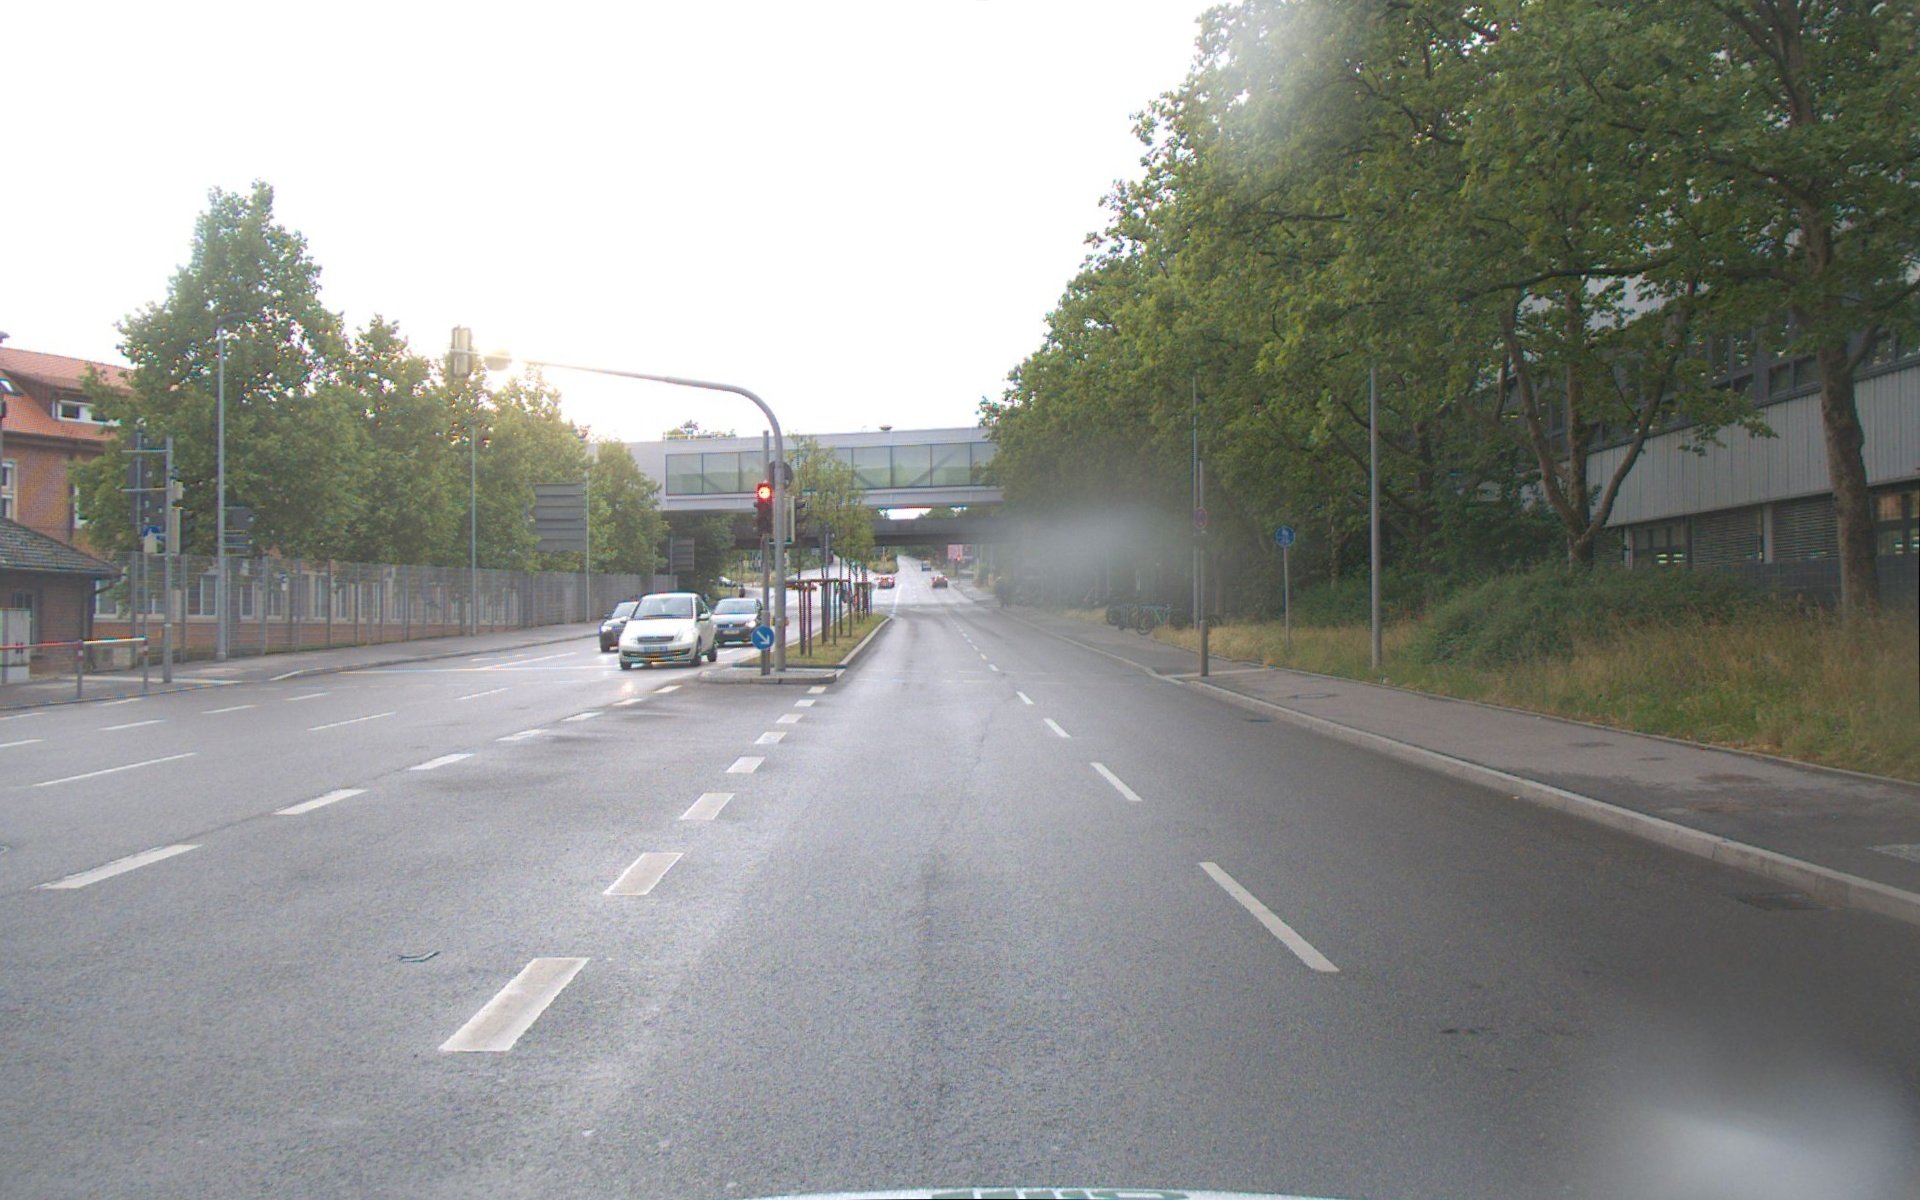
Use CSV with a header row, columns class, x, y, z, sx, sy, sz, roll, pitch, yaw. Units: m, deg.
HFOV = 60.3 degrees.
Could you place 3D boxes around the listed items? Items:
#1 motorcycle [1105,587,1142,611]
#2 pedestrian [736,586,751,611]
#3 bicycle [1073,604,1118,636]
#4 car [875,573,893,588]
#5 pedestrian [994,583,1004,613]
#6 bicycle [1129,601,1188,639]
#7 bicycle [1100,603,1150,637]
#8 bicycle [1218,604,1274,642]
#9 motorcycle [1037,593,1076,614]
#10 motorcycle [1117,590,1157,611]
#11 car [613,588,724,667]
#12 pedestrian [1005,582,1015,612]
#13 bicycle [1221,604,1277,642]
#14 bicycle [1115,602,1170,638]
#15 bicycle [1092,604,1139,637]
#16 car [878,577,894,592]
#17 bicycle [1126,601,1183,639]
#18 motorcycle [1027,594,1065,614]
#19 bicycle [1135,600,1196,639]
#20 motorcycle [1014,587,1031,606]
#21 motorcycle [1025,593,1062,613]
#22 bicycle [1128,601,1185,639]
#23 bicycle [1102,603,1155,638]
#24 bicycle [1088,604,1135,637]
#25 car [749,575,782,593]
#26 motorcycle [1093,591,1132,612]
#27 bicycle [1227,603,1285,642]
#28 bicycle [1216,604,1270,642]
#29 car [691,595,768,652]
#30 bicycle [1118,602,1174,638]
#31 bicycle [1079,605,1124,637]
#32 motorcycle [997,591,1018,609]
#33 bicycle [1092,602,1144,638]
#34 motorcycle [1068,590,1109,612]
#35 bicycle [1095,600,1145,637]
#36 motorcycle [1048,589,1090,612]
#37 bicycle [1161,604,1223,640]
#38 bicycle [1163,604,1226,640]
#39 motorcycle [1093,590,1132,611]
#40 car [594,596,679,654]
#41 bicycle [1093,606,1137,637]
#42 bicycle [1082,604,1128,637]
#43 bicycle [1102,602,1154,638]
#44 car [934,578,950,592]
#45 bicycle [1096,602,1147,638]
class,x,y,z,sx,sy,sz,roll,pitch,yaw
motorcycle,10.556,-0.049,106.913,2.318,1.502,0.723,-1,0,7
pedestrian,-18.075,-0.143,138.160,0.864,2.040,0.845,3,-3,-33
bicycle,6.006,0.909,73.338,1.923,1.352,0.654,2,-1,0
car,-9.452,-2.417,206.232,1.953,1.793,3.999,2,-1,-1
pedestrian,2.694,-0.129,114.635,0.609,2.049,0.605,-1,0,-1
bicycle,6.937,0.699,57.890,1.949,1.255,0.541,2,-1,0
bicycle,6.791,0.838,68.197,1.949,1.352,0.576,2,-1,0
bicycle,10.795,0.870,62.452,1.949,1.352,0.576,2,-1,0
motorcycle,5.916,0.212,101.321,2.318,1.223,0.723,-1,0,7
motorcycle,10.593,0.036,98.789,2.318,1.223,0.723,-1,0,7
car,-6.509,0.594,37.260,1.839,1.653,3.778,-1,0,-1
pedestrian,3.436,-0.217,114.634,0.609,2.049,0.605,-1,0,-1
bicycle,10.804,0.858,61.787,1.949,1.352,0.576,2,-1,0
bicycle,6.799,0.759,61.578,1.949,1.263,0.541,2,-1,0
bicycle,6.579,0.868,70.141,1.920,1.352,0.576,2,-1,0
car,-9.411,-1.956,210.754,1.846,1.793,3.968,2,-1,-1
bicycle,6.942,0.717,59.075,1.949,1.263,0.541,2,-1,0
motorcycle,5.514,0.228,105.754,2.318,1.223,0.723,-1,0,7
bicycle,6.905,0.665,55.673,1.949,1.237,0.541,2,-1,0
motorcycle,4.590,-0.235,121.963,0.775,1.334,2.371,-1,0,-9
motorcycle,5.451,0.217,107.629,2.318,1.223,0.793,-1,0,7
bicycle,6.942,0.706,58.486,1.949,1.263,0.541,2,-1,0
bicycle,6.398,0.769,62.781,1.949,1.263,0.541,2,-1,0
bicycle,6.484,0.877,70.830,1.923,1.352,0.654,2,-1,0
car,-23.849,-1.989,202.979,1.985,2.049,3.935,3,-2,-44
motorcycle,9.225,0.095,100.125,2.318,1.223,0.723,-1,0,7
bicycle,10.667,0.814,59.693,1.949,1.352,0.576,2,-1,0
bicycle,10.799,0.882,63.100,1.949,1.352,0.576,2,-1,0
car,-7.069,0.703,51.058,1.839,1.653,3.778,-1,0,-1
bicycle,6.817,0.742,60.630,1.949,1.263,0.541,2,-1,0
bicycle,6.353,0.935,74.148,1.923,1.352,0.654,2,-1,0
motorcycle,3.583,-0.007,125.143,0.778,1.334,2.363,-1,0,-19
bicycle,6.267,0.786,65.658,1.949,1.352,0.576,2,-1,0
motorcycle,7.486,0.061,96.607,2.318,1.223,0.723,-1,0,7
bicycle,6.509,0.761,67.339,1.949,1.455,0.723,2,-1,0
motorcycle,6.254,0.036,94.536,2.318,1.223,0.723,-1,0,7
bicycle,7.594,0.722,54.224,1.949,1.114,0.541,2,-1,0
bicycle,7.602,0.712,53.655,1.949,1.114,0.541,2,-1,0
motorcycle,9.343,0.016,101.053,2.318,1.223,0.723,-1,0,7
car,-9.707,0.733,49.954,1.839,1.653,3.778,-1,0,-1
bicycle,7.102,0.987,75.661,1.923,1.352,0.654,2,-1,0
bicycle,6.343,0.903,72.429,1.923,1.352,0.654,2,-1,0
bicycle,6.596,0.782,64.854,1.949,1.352,0.576,2,-1,0
car,-2.180,-1.817,202.575,1.837,1.523,4.067,2,-1,-1
bicycle,6.508,0.812,66.605,1.949,1.352,0.576,2,-1,0
